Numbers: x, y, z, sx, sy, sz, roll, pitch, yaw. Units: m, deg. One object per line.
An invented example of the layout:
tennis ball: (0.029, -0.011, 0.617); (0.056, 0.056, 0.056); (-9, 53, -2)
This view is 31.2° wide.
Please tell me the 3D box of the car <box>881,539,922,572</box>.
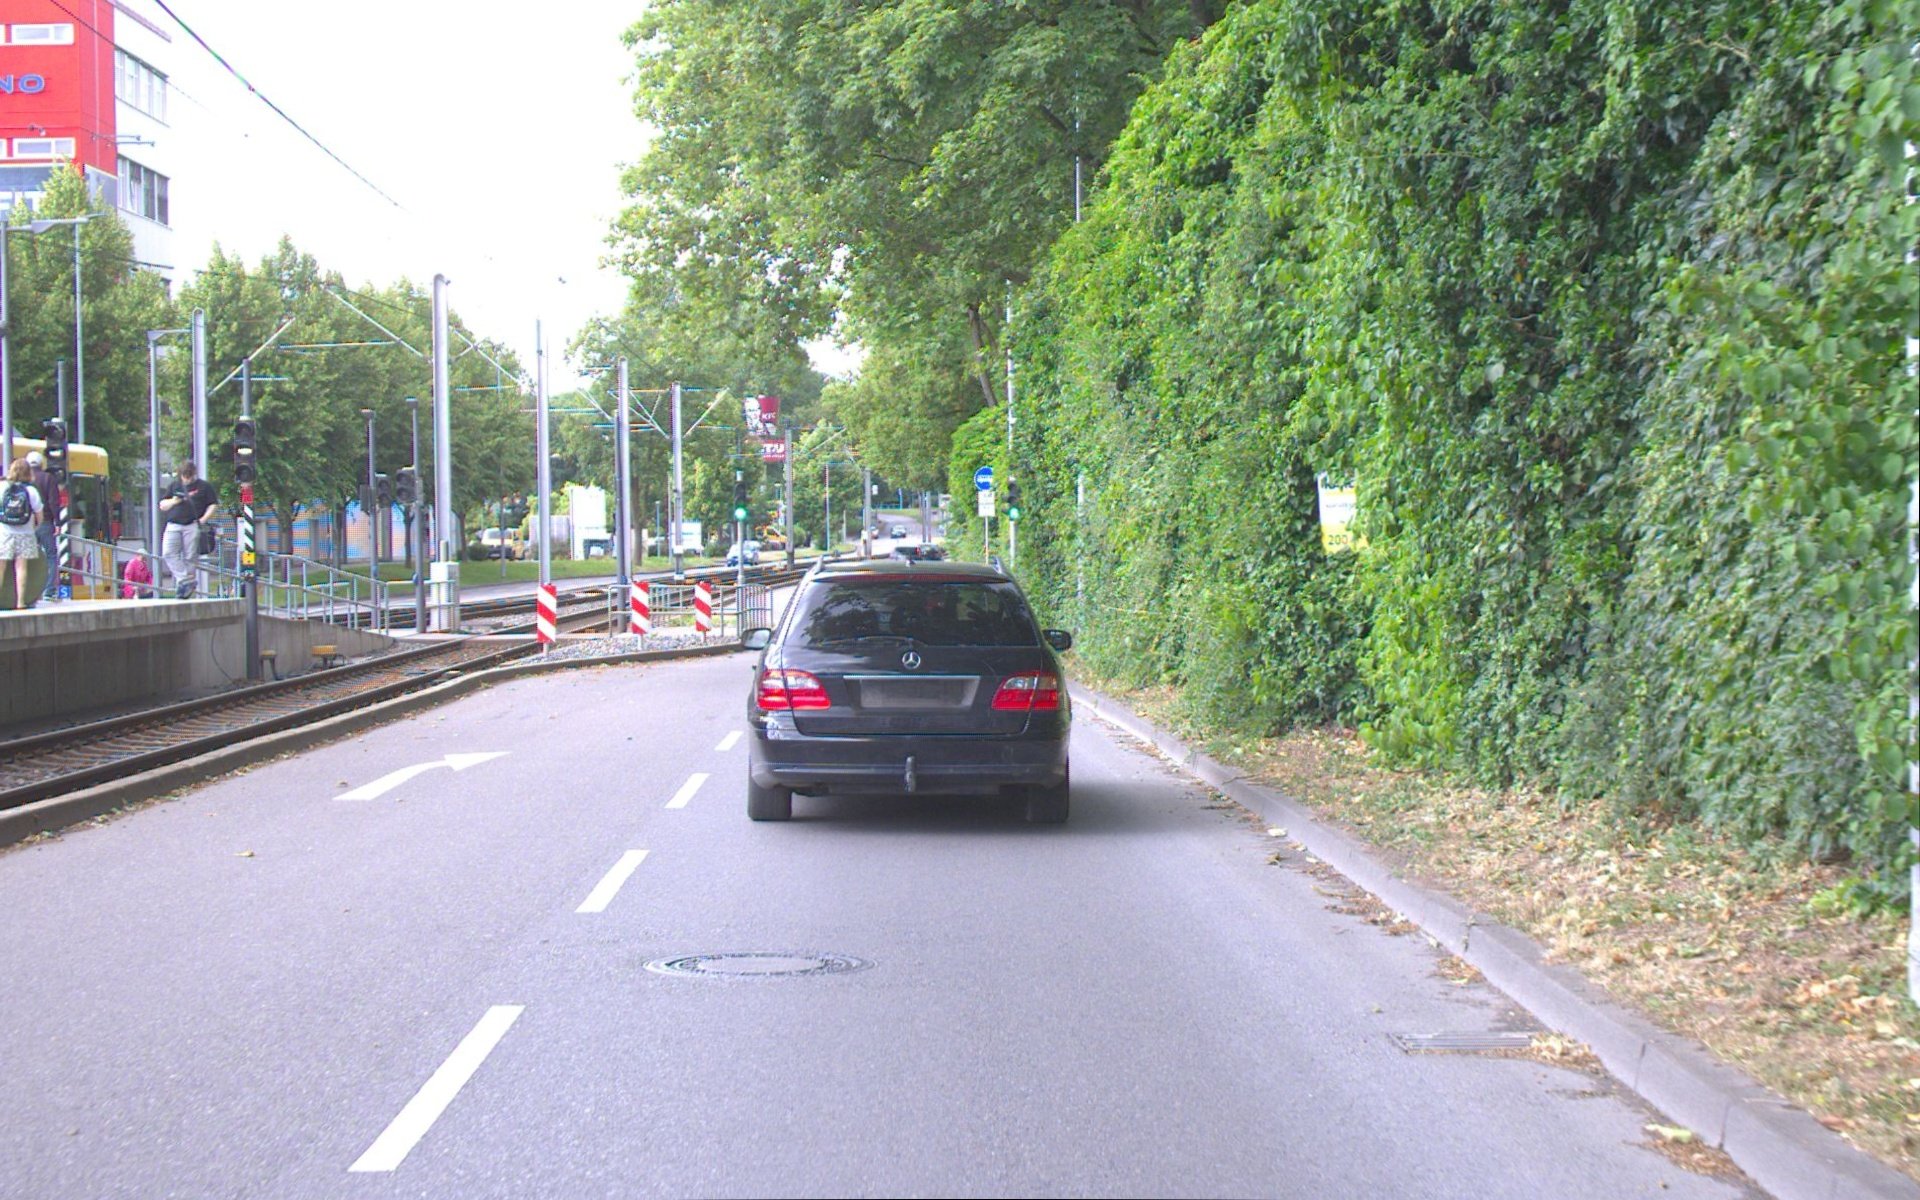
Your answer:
car: (-2.772, -2.143, 163.965); (1.825, 1.524, 4.416); (-1, 1, 1)

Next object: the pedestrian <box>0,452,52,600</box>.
pedestrian: (-9.578, -0.746, 34.655); (0.520, 1.477, 0.580); (-1, 1, 38)

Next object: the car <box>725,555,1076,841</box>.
car: (-0.318, 0.487, 20.269); (1.833, 1.473, 4.416); (0, 1, 0)

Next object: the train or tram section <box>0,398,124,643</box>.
train or tram section: (-16.356, -1.153, 51.351); (2.756, 3.815, 18.632); (-2, 1, 1)

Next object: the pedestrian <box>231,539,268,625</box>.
pedestrian: (-13.934, -0.350, 67.418); (0.517, 1.656, 0.465); (-2, 1, 10)

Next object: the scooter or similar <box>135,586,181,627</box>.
scooter or similar: (-15.708, 0.132, 67.361); (0.496, 0.765, 0.798); (-2, 1, 20)

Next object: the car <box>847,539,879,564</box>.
car: (-5.984, -3.002, 212.473); (1.825, 1.524, 3.986); (0, 1, 1)

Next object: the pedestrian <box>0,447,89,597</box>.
pedestrian: (-10.452, -0.890, 39.241); (0.771, 1.672, 0.791); (-2, 1, -1)

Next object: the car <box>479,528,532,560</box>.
car: (-25.398, -3.143, 192.214); (1.994, 1.737, 4.987); (-1, 1, 3)

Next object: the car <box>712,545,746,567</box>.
car: (-14.759, -2.828, 219.418); (1.660, 1.388, 3.718); (0, 1, 4)

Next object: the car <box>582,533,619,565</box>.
car: (-23.346, -3.313, 223.278); (1.993, 2.007, 4.000); (-2, 1, -1)

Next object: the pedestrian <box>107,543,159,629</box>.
pedestrian: (-16.248, -0.279, 67.550); (0.613, 1.648, 0.795); (-2, 1, 21)

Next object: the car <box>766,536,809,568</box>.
car: (-8.432, -2.344, 168.186); (1.825, 1.524, 3.927); (0, 1, 1)

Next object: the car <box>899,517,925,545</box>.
car: (-3.585, -5.183, 257.214); (1.891, 2.007, 3.898); (-2, 1, -1)

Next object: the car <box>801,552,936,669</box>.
car: (-1.287, 0.112, 48.791); (1.825, 1.524, 4.416); (0, 1, -1)

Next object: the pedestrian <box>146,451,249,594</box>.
pedestrian: (-9.106, -0.932, 41.058); (0.745, 1.672, 0.874); (-1, 1, 43)

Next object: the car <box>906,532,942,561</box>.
car: (-1.910, -2.893, 185.175); (1.825, 1.524, 3.927); (0, 1, 1)
